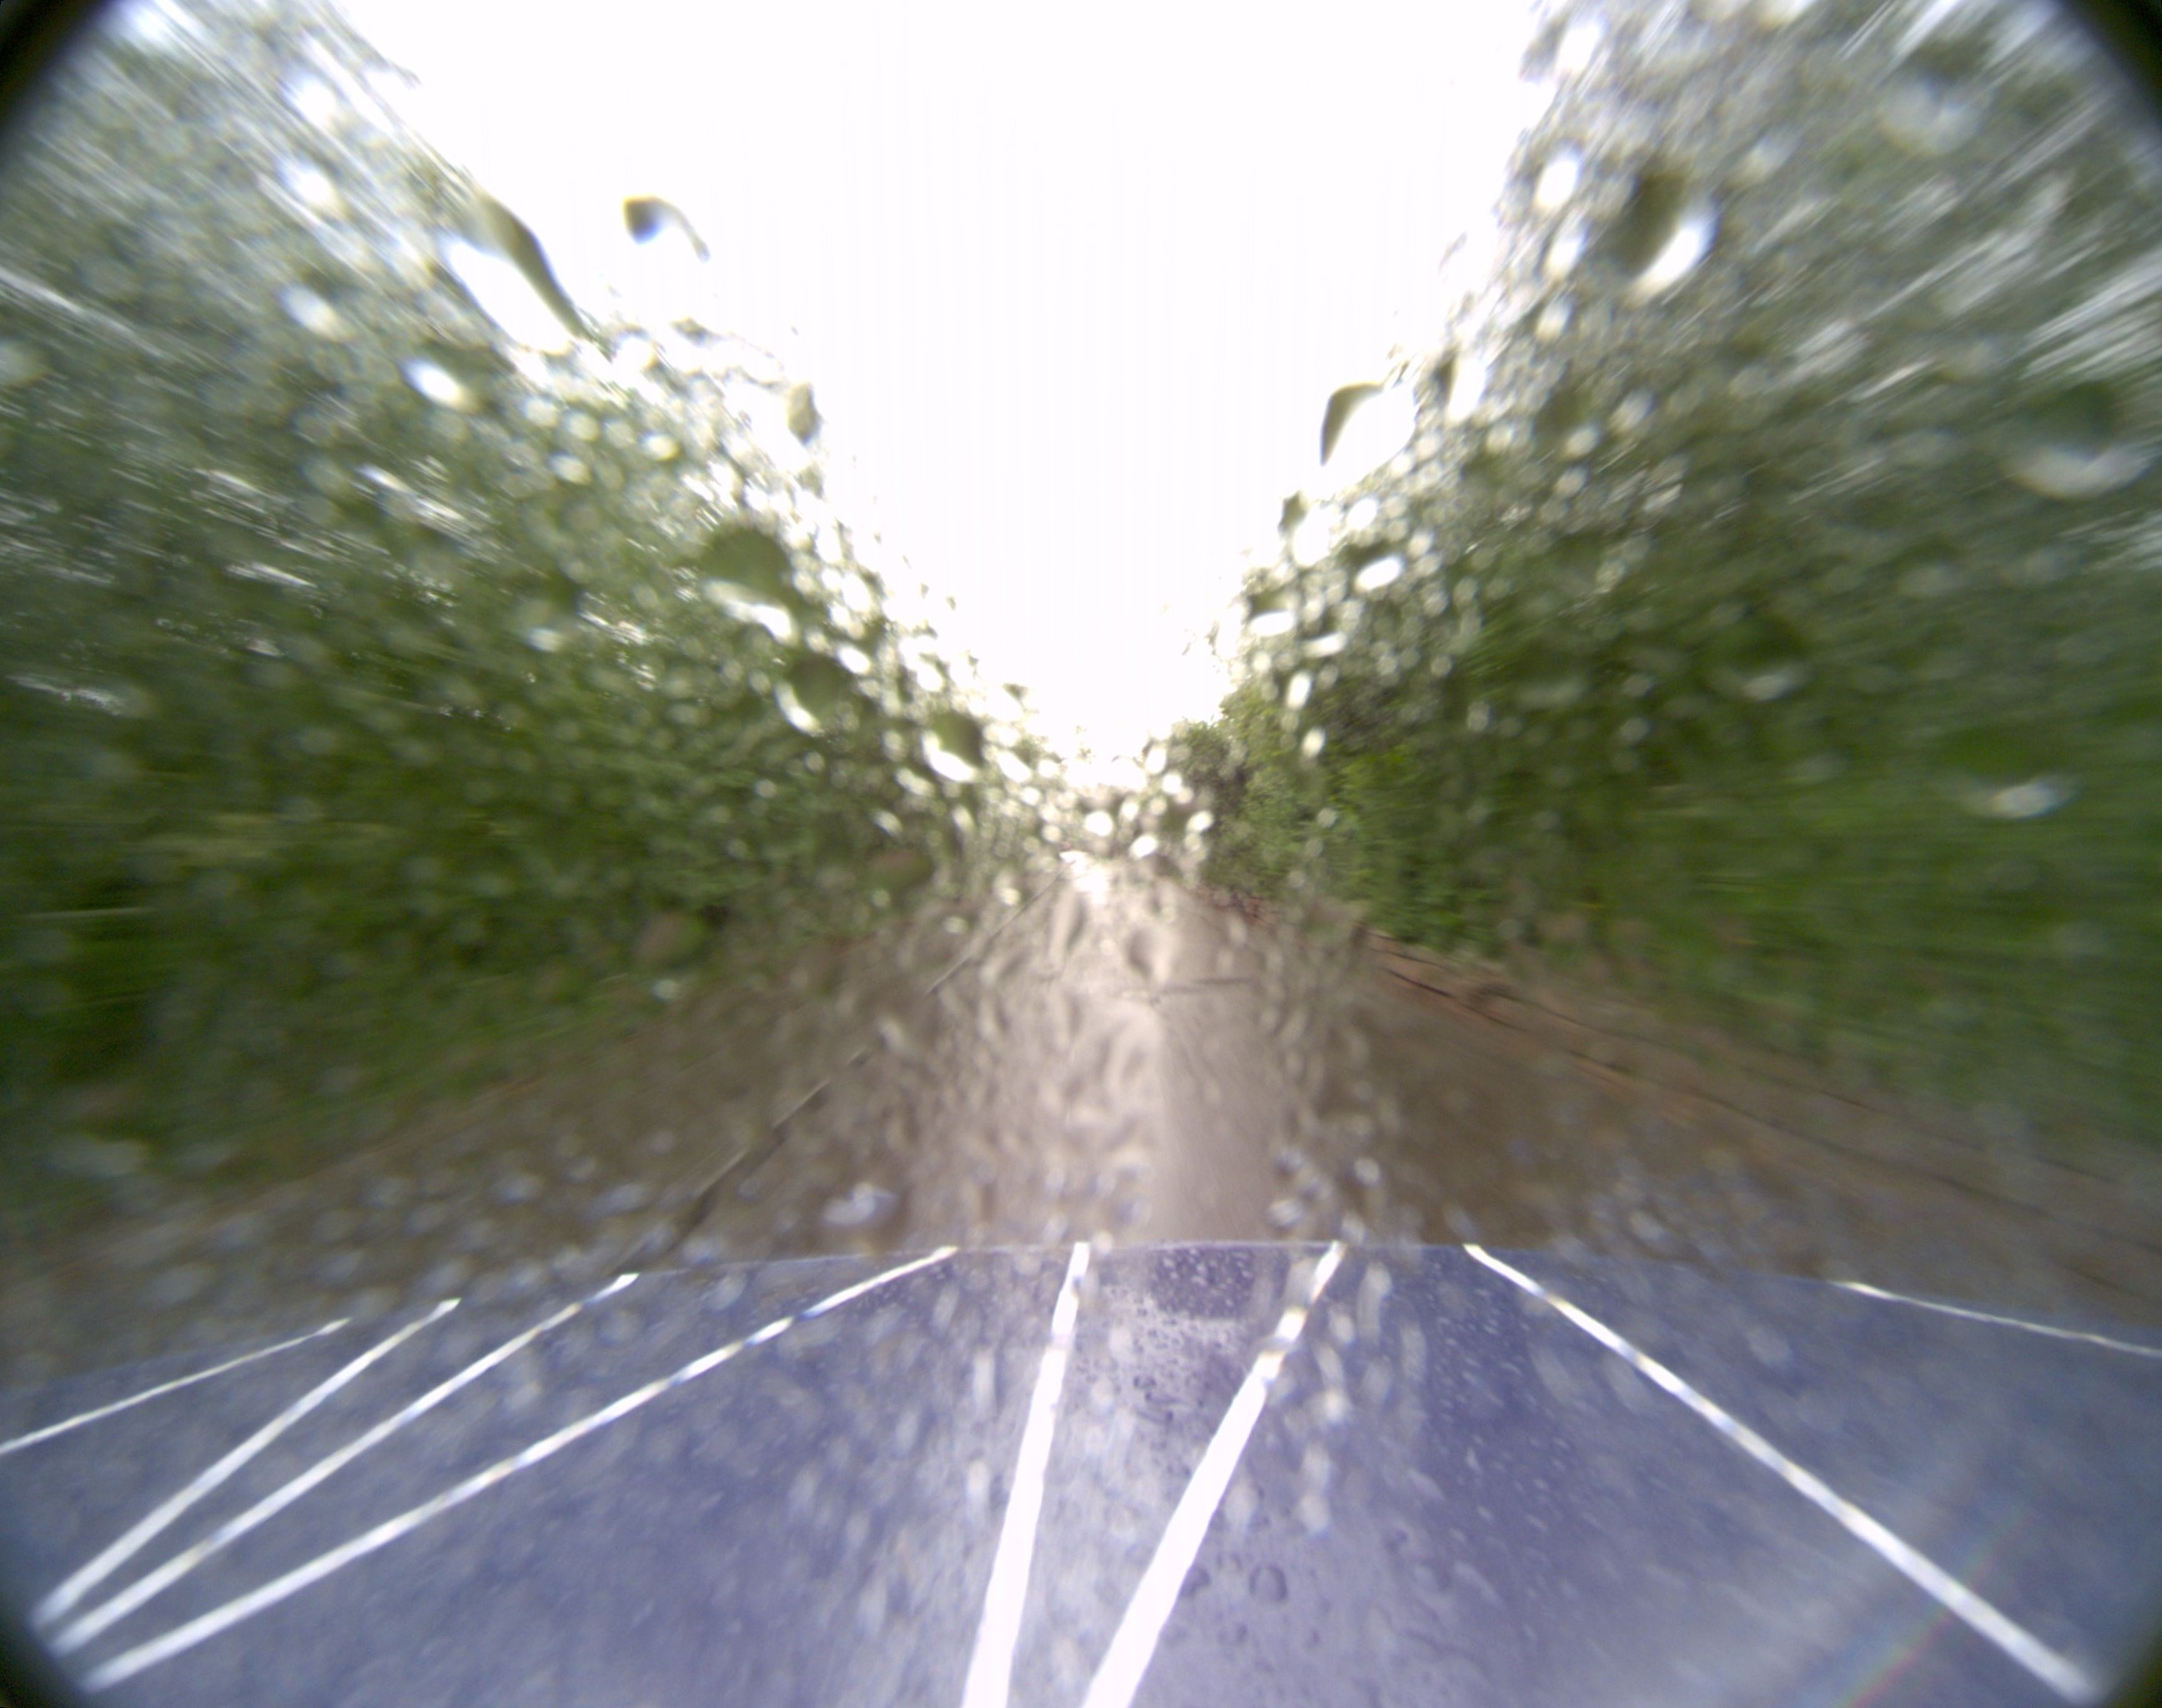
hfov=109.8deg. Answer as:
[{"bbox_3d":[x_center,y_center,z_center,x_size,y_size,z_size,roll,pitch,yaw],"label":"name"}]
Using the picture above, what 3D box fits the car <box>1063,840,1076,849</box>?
[{"bbox_3d":[-2.001,-1.711,131.371,1.894,1.515,4.419,-1,2,-3],"label":"car"}]
